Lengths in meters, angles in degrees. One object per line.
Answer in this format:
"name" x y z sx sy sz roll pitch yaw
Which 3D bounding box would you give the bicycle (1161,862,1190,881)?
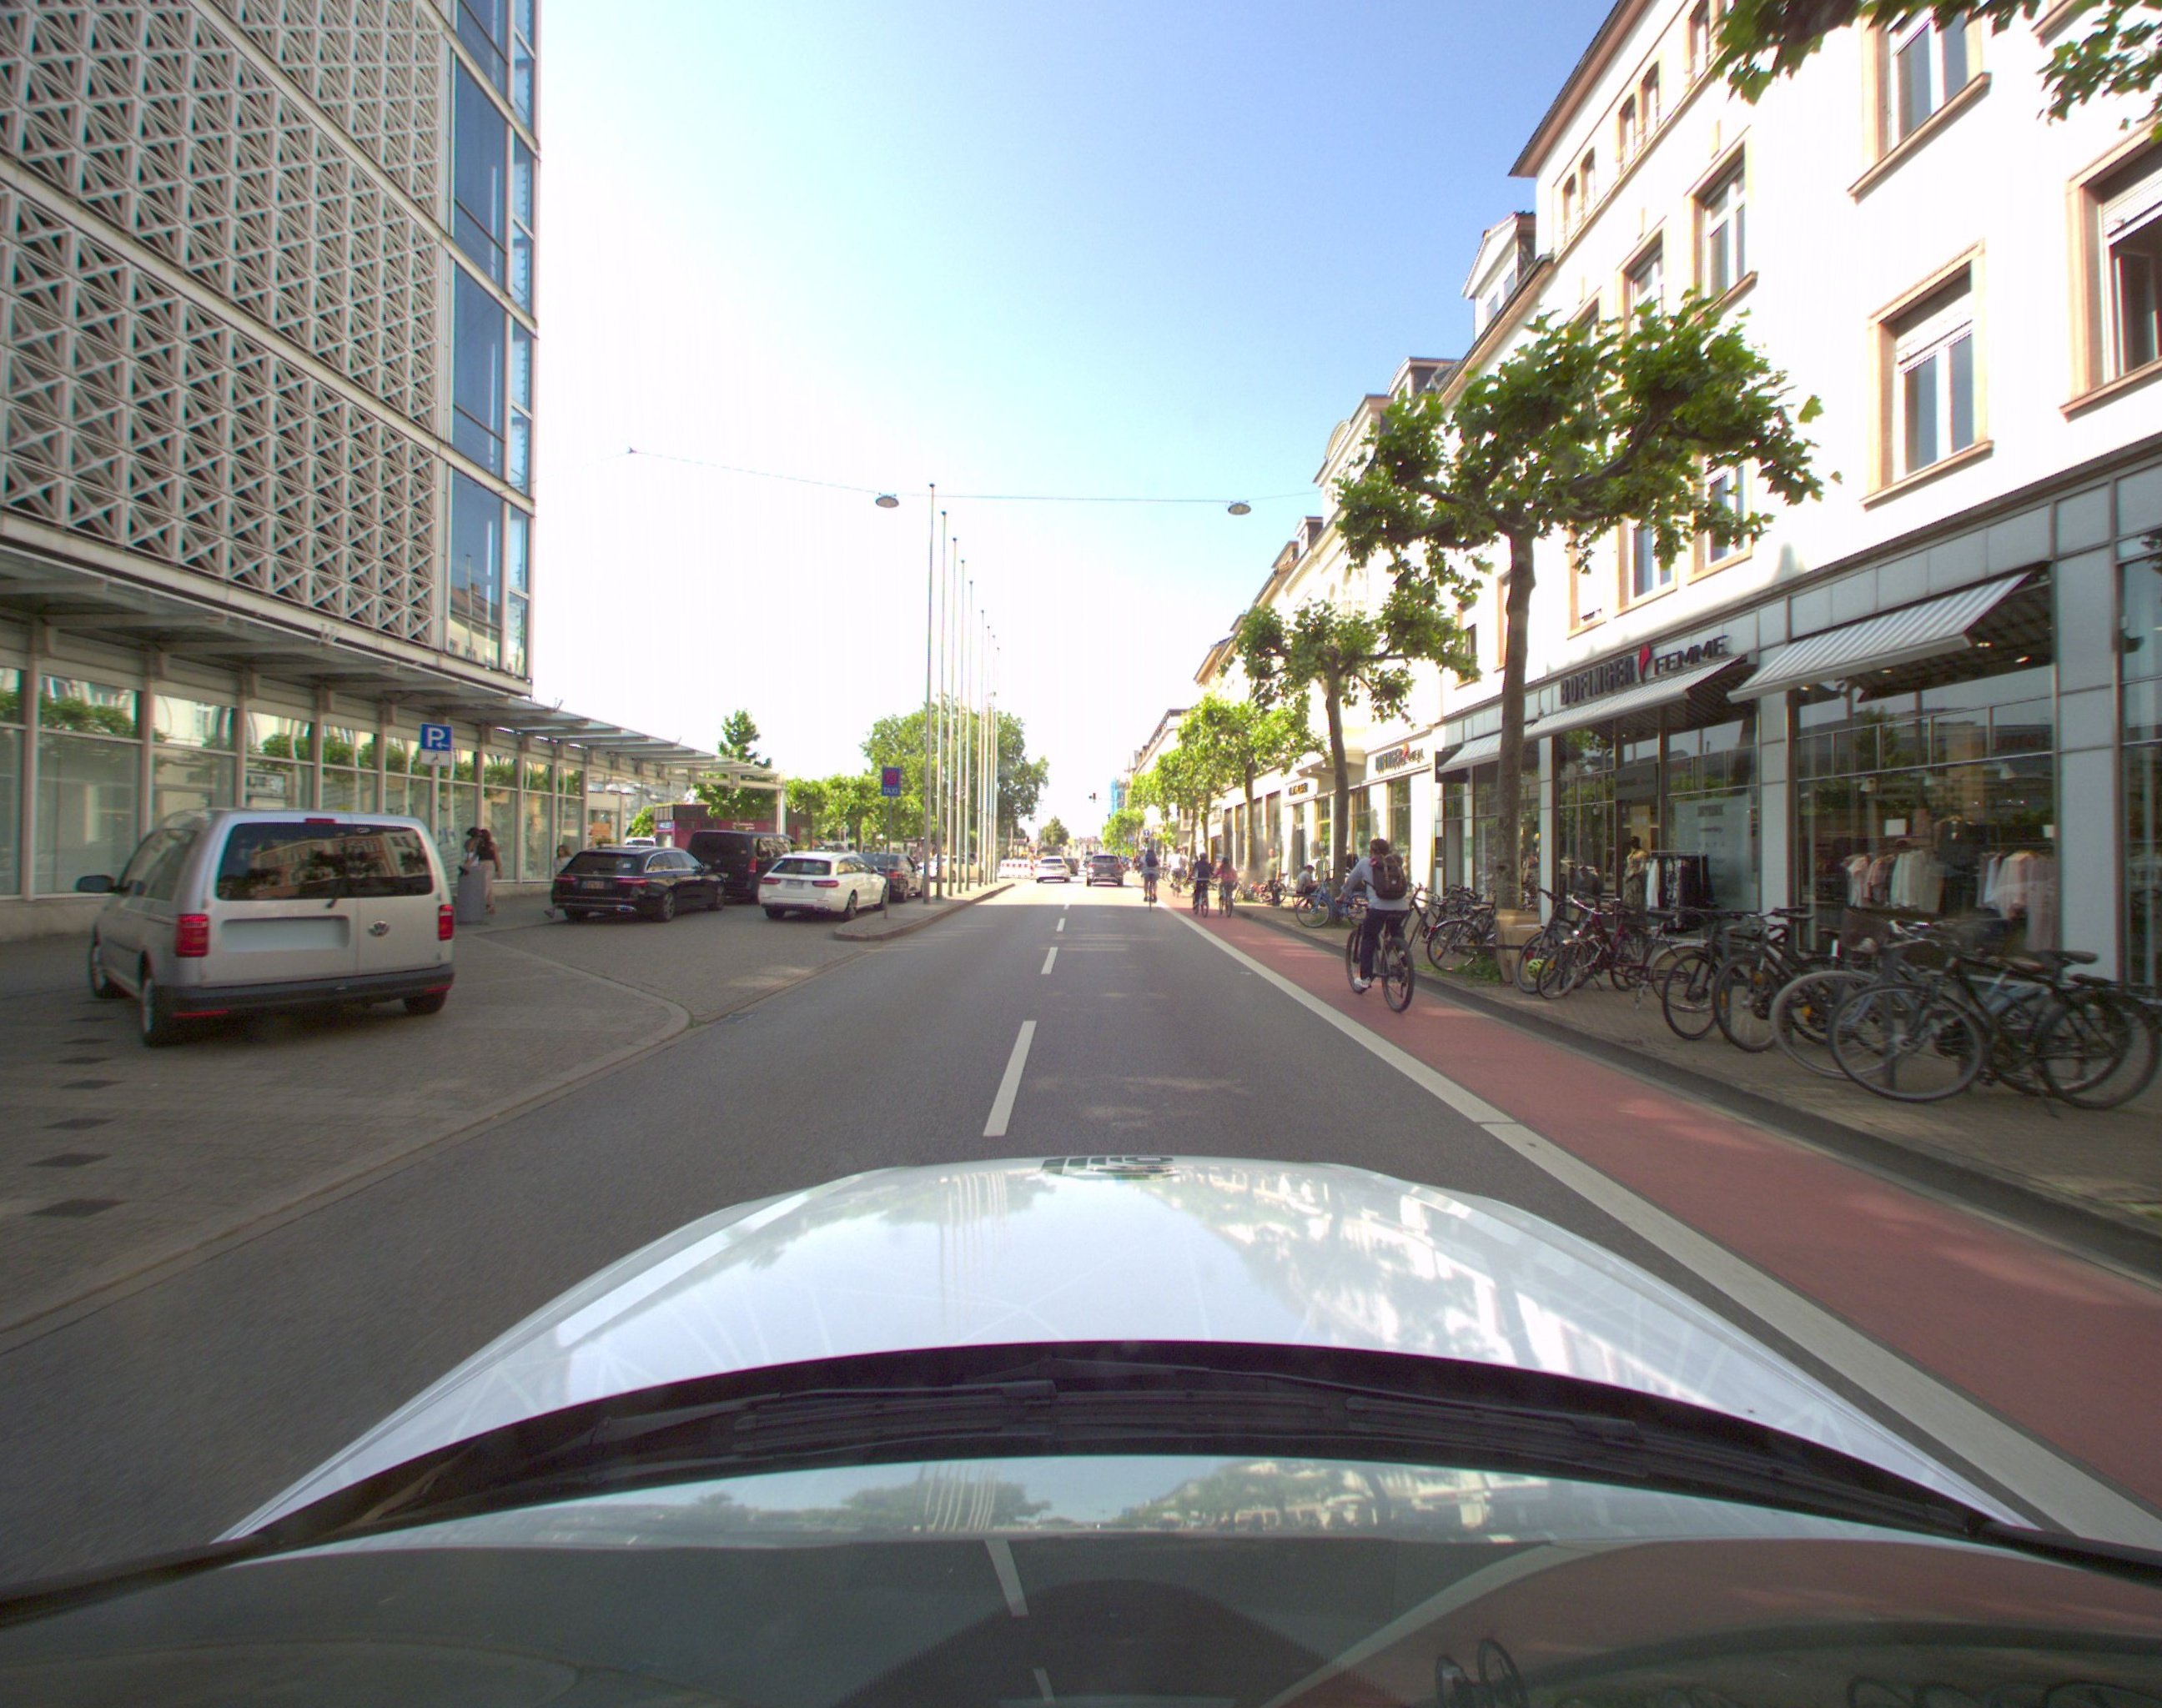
"bicycle" 5.682 1.042 48.968 1.642 1.095 0.607 1 -1 2

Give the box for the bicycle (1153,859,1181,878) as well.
"bicycle" 5.917 1.000 56.033 1.827 1.309 0.684 1 -1 -20

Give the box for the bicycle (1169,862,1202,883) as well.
"bicycle" 5.558 0.975 43.350 1.721 1.109 0.402 1 -1 2

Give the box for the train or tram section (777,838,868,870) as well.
"train or tram section" -30.830 0.013 97.865 2.588 3.677 11.071 0 0 35

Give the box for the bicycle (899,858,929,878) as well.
"bicycle" -10.563 0.893 51.545 1.777 1.215 0.662 1 -1 -3

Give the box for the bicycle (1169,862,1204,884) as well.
"bicycle" 5.503 0.979 42.497 1.721 1.109 0.736 1 -1 2

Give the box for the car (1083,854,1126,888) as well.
"car" 1.080 0.790 39.916 1.841 1.559 3.996 0 0 -2

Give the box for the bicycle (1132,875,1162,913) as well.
"bicycle" 1.777 1.056 22.173 0.628 0.980 2.088 1 -2 -1

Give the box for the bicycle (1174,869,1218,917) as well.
"bicycle" 2.951 0.988 21.094 0.697 1.127 2.079 2 -1 -3

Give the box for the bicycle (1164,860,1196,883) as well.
"bicycle" 5.487 0.964 45.269 1.721 1.217 0.478 1 -1 2

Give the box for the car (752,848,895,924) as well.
"car" -5.826 0.637 19.088 1.793 1.523 4.738 1 0 0

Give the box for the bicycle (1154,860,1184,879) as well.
"bicycle" 5.580 0.999 51.709 1.836 1.201 0.545 1 -1 2

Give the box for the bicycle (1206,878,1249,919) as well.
"bicycle" 3.733 1.116 20.924 0.599 0.926 2.085 -1 0 -3

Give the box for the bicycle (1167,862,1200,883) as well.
"bicycle" 5.572 1.024 44.182 1.721 1.109 0.478 1 -1 2

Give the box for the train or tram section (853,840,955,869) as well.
"train or tram section" -23.270 0.168 108.560 2.588 3.677 15.646 0 0 35

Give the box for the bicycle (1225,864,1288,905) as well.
"bicycle" 5.395 0.919 25.089 1.830 1.197 0.675 1 -1 7

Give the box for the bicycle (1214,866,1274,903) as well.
"bicycle" 5.234 0.964 26.153 1.828 1.127 0.499 2 -1 11

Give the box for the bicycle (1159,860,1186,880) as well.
"bicycle" 5.684 0.994 50.491 1.642 1.201 0.474 1 -1 2

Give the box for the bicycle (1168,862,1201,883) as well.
"bicycle" 5.535 1.006 43.763 1.721 1.109 0.402 1 -1 2

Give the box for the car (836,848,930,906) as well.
"car" -5.911 0.631 24.884 1.756 1.600 4.708 1 0 -1

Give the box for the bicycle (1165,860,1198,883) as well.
"bicycle" 5.491 0.950 44.544 1.721 1.217 0.478 1 -1 2

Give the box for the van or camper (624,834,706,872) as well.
"van or camper" -22.272 -0.013 43.856 1.867 1.919 5.021 1 -1 -2

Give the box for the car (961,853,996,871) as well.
"car" -11.600 0.914 92.208 1.843 1.955 4.785 0 -1 21

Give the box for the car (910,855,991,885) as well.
"car" -7.177 0.857 45.345 1.873 1.542 4.890 1 0 27

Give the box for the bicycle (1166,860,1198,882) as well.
"bicycle" 5.674 0.973 45.760 1.721 1.217 0.478 1 -1 2

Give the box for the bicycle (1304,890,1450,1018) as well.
"bicycle" 3.108 1.002 8.794 0.697 1.127 2.079 2 -1 -3

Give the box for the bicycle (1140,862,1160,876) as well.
"bicycle" 5.606 1.209 66.192 0.604 1.082 1.820 -2 0 -35

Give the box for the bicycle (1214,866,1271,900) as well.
"bicycle" 5.495 0.986 27.810 1.831 1.097 0.795 1 -1 5

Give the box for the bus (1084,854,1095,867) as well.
"bus" 2.586 1.986 241.480 2.986 3.594 11.740 0 -1 0

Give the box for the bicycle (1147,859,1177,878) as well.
"bicycle" 5.613 1.007 56.628 1.938 1.257 0.700 1 -1 -20

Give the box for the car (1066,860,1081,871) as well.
"car" -0.943 1.430 101.709 1.840 1.413 3.998 0 0 -1

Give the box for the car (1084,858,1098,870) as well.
"car" 1.550 1.556 126.513 1.840 1.668 3.997 2 0 -2

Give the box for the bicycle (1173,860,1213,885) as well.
"bicycle" 5.630 0.927 41.017 1.924 1.248 0.736 1 -1 2

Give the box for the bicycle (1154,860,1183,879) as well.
"bicycle" 5.619 1.009 52.215 1.836 1.201 0.609 1 -1 2

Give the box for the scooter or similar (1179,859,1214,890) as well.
"scooter or similar" 5.142 0.900 36.102 1.465 1.274 0.672 2 -1 11

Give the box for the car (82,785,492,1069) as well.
"car" -7.505 0.410 7.572 4.389 1.909 2.022 3 1 36

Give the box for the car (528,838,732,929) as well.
"car" -9.073 0.546 16.907 1.990 1.610 4.393 1 0 -4

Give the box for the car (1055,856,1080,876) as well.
"car" -0.987 0.902 61.393 1.840 1.449 3.999 -1 0 -1

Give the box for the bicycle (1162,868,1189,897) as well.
"bicycle" 3.566 1.058 30.868 0.772 1.006 2.329 0 0 0

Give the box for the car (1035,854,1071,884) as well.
"car" -1.520 0.811 45.475 1.839 1.560 4.000 -1 0 0

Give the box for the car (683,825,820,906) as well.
"car" -8.927 0.289 22.533 1.826 2.013 4.685 1 0 0

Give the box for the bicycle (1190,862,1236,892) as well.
"bicycle" 5.472 0.957 33.917 1.831 1.186 0.671 2 -1 5

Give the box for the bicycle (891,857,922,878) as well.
"bicycle" -10.728 0.826 50.156 1.777 1.309 0.662 1 -1 -3
